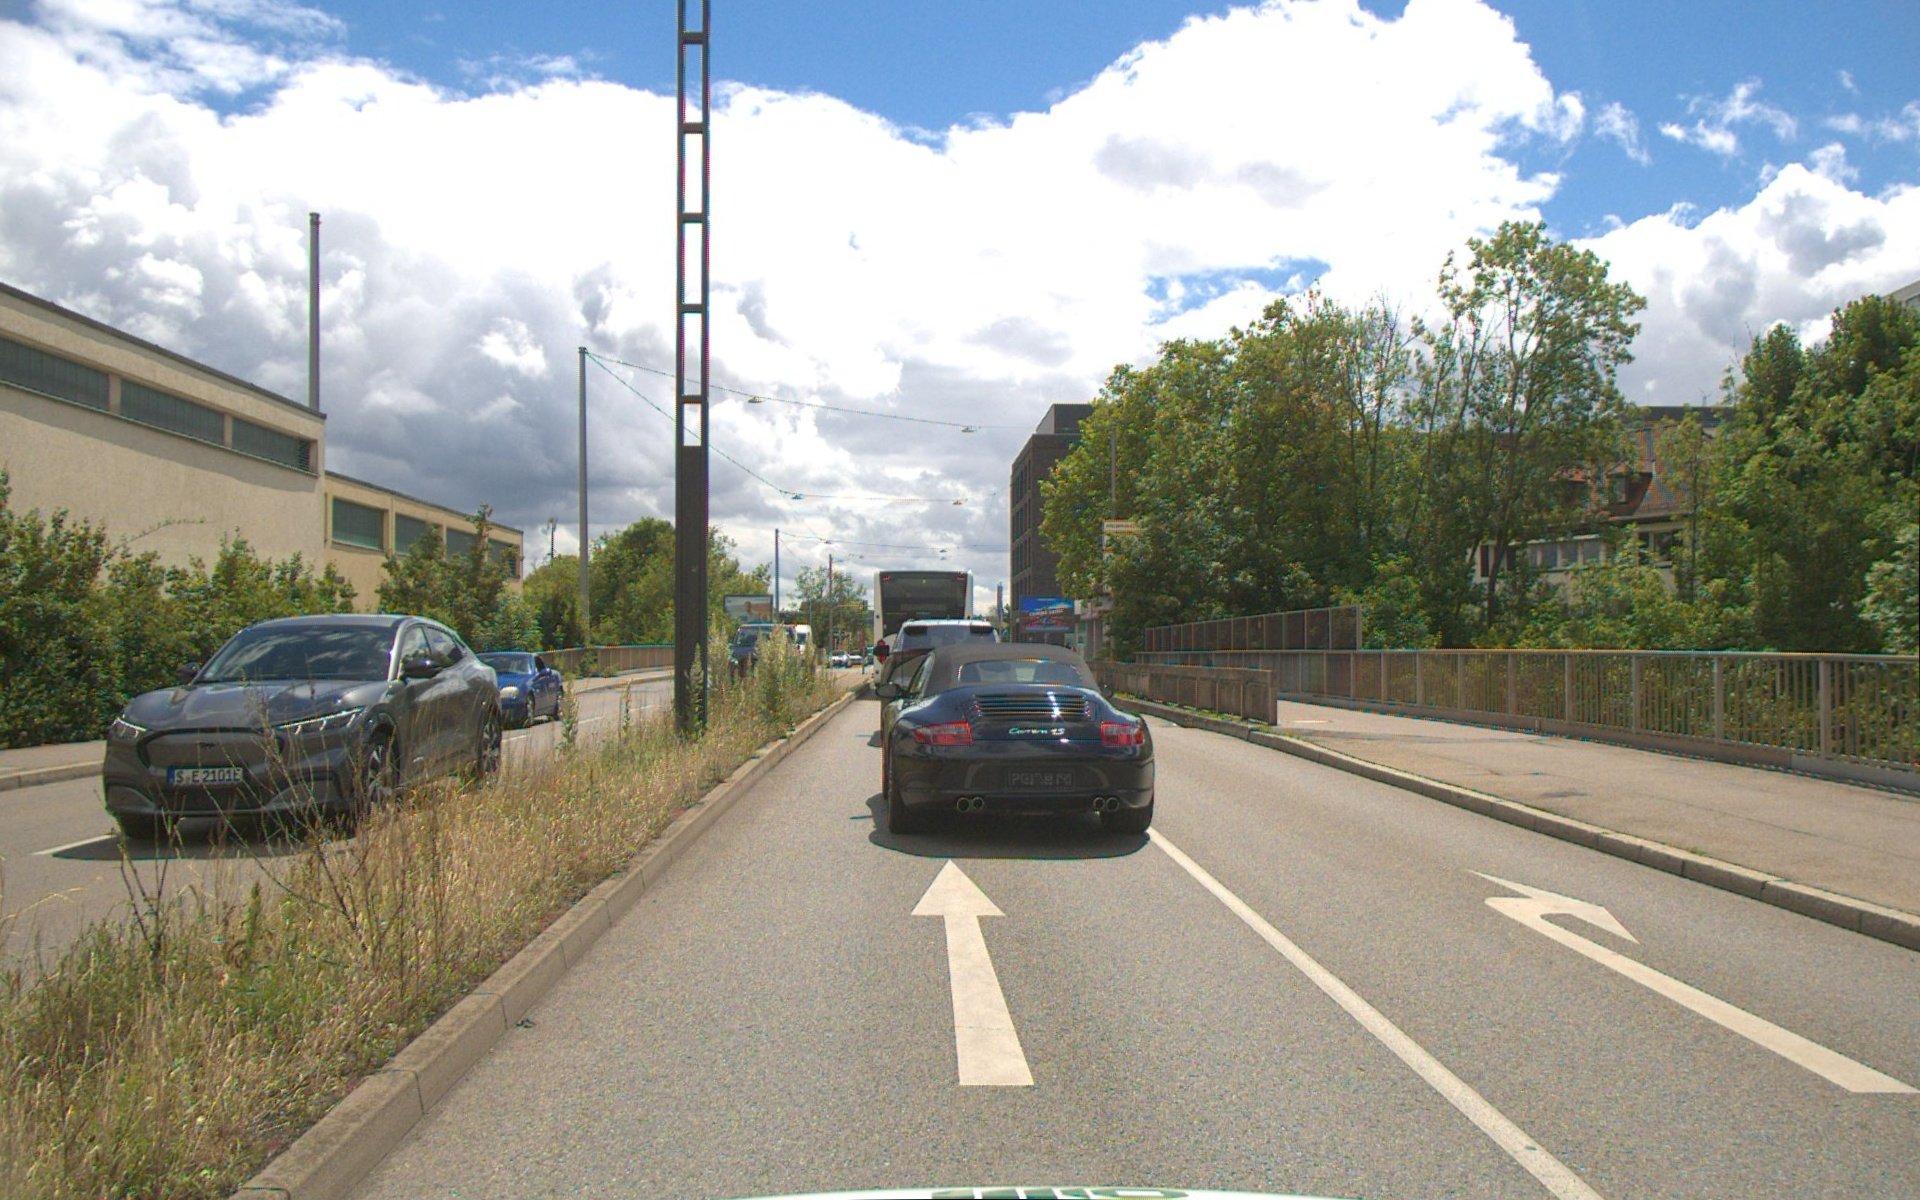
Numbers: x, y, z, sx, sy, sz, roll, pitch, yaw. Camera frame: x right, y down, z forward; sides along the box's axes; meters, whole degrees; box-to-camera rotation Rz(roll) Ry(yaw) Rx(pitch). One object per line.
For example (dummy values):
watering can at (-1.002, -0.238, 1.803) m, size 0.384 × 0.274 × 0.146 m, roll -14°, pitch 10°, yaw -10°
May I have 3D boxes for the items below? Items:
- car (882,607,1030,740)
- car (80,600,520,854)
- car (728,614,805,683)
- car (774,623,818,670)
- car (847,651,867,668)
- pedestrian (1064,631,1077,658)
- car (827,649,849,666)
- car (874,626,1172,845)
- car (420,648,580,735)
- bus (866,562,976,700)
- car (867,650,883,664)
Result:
car at (-0.073, 0.939, 22.987) m, size 1.841 × 1.622 × 4.229 m, roll 1°, pitch 0°, yaw -1°
car at (-5.052, 0.865, 13.408) m, size 1.840 × 1.655 × 4.442 m, roll -2°, pitch 0°, yaw -2°
car at (-5.679, 1.408, 49.028) m, size 1.954 × 1.921 × 4.865 m, roll 0°, pitch -1°, yaw -3°
car at (-9.549, 2.733, 96.948) m, size 2.025 × 2.616 × 6.818 m, roll -1°, pitch -2°, yaw -2°
car at (-9.763, 5.645, 156.914) m, size 1.773 × 1.588 × 4.205 m, roll 1°, pitch -2°, yaw -2°
pedestrian at (7.092, 2.842, 105.862) m, size 0.666 × 1.726 × 0.598 m, roll -1°, pitch -2°, yaw 24°
car at (-10.020, 4.717, 136.012) m, size 1.604 × 1.387 × 4.192 m, roll -1°, pitch -2°, yaw -2°
car at (0.298, 0.889, 12.444) m, size 1.686 × 1.297 × 4.083 m, roll 1°, pitch 0°, yaw -6°
car at (-7.969, 1.555, 28.992) m, size 1.719 × 1.298 × 3.999 m, roll -3°, pitch -1°, yaw -1°
bus at (-0.999, 0.646, 46.649) m, size 2.634 × 3.312 × 12.057 m, roll 1°, pitch 1°, yaw 0°
car at (-8.941, 6.053, 175.031) m, size 1.595 × 1.456 × 3.998 m, roll 0°, pitch -2°, yaw -1°
